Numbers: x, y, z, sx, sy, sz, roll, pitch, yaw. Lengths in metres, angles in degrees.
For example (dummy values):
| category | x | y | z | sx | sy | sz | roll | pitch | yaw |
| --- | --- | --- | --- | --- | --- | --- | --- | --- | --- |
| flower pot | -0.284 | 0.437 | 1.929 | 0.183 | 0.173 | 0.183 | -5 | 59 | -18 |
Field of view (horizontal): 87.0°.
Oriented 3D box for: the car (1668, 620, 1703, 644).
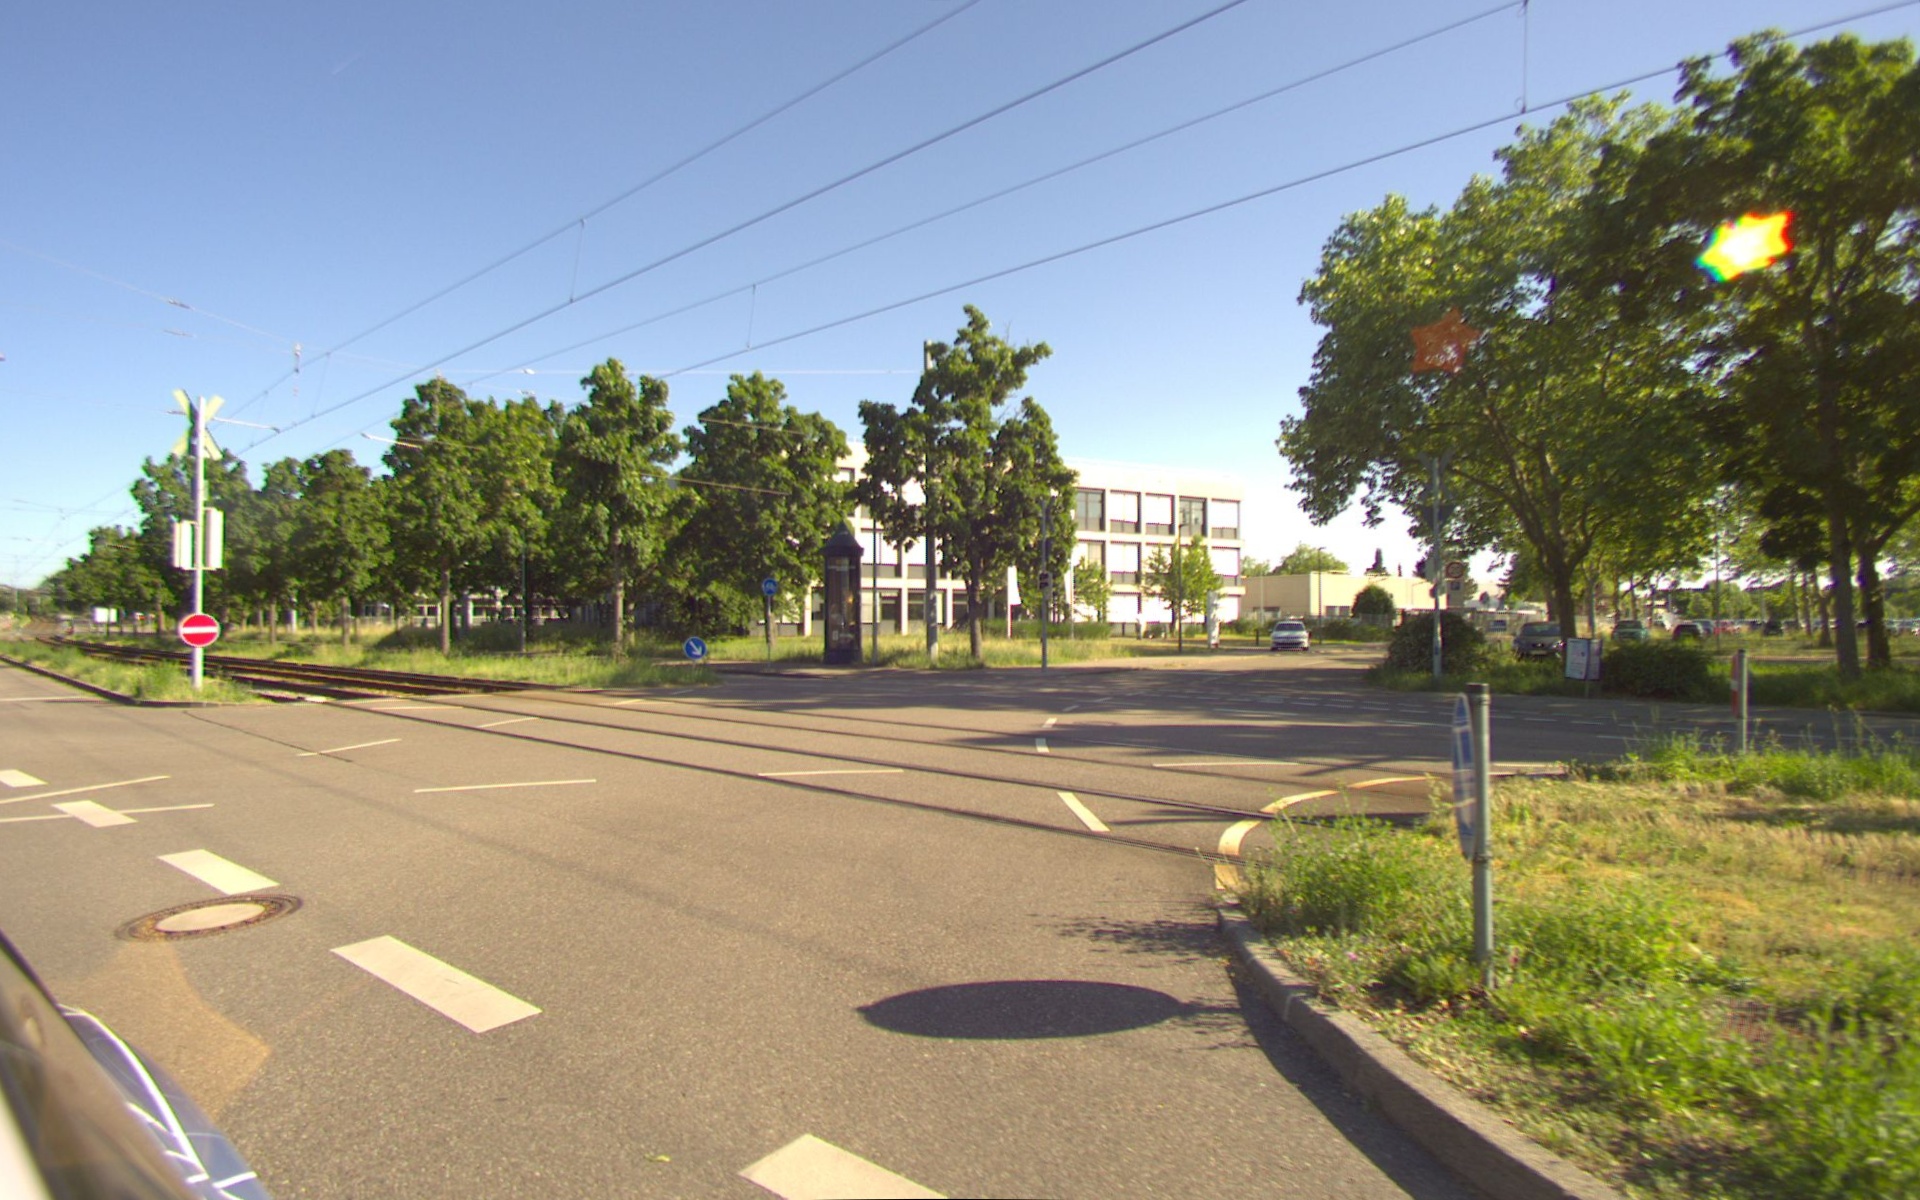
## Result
| category | x | y | z | sx | sy | sz | roll | pitch | yaw |
| --- | --- | --- | --- | --- | --- | --- | --- | --- | --- |
| car | 51.617 | 2.259 | 72.050 | 1.826 | 1.618 | 3.953 | -1 | -2 | 34 |

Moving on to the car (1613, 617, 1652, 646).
| category | x | y | z | sx | sy | sz | roll | pitch | yaw |
| --- | --- | --- | --- | --- | --- | --- | --- | --- | --- |
| car | 40.344 | 1.864 | 60.706 | 1.826 | 1.681 | 3.953 | -1 | -2 | 34 |

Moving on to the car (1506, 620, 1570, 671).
| category | x | y | z | sx | sy | sz | roll | pitch | yaw |
| --- | --- | --- | --- | --- | --- | --- | --- | --- | --- |
| car | 20.211 | 1.552 | 35.359 | 1.824 | 1.681 | 3.958 | -1 | -2 | 31 |

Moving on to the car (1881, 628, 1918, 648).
| category | x | y | z | sx | sy | sz | roll | pitch | yaw |
| --- | --- | --- | --- | --- | --- | --- | --- | --- | --- |
| car | 77.561 | 3.130 | 83.531 | 4.365 | 1.561 | 1.991 | 2 | -3 | -44 |

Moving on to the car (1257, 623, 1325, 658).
| category | x | y | z | sx | sy | sz | roll | pitch | yaw |
| --- | --- | --- | --- | --- | --- | --- | --- | --- | --- |
| car | 16.570 | 2.015 | 50.540 | 1.986 | 1.652 | 4.378 | -1 | -2 | 35 |

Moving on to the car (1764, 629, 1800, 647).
| category | x | y | z | sx | sy | sz | roll | pitch | yaw |
| --- | --- | --- | --- | --- | --- | --- | --- | --- | --- |
| car | 72.625 | 3.321 | 89.432 | 4.365 | 1.561 | 1.978 | 2 | -3 | -44 |

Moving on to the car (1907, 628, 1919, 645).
| category | x | y | z | sx | sy | sz | roll | pitch | yaw |
| --- | --- | --- | --- | --- | --- | --- | --- | --- | --- |
| car | 89.342 | 3.387 | 93.864 | 4.365 | 1.561 | 1.991 | 2 | -3 | -44 |

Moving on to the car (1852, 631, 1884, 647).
| category | x | y | z | sx | sy | sz | roll | pitch | yaw |
| --- | --- | --- | --- | --- | --- | --- | --- | --- | --- |
| car | 86.683 | 3.709 | 96.586 | 4.365 | 1.561 | 1.991 | 2 | -3 | -44 |
